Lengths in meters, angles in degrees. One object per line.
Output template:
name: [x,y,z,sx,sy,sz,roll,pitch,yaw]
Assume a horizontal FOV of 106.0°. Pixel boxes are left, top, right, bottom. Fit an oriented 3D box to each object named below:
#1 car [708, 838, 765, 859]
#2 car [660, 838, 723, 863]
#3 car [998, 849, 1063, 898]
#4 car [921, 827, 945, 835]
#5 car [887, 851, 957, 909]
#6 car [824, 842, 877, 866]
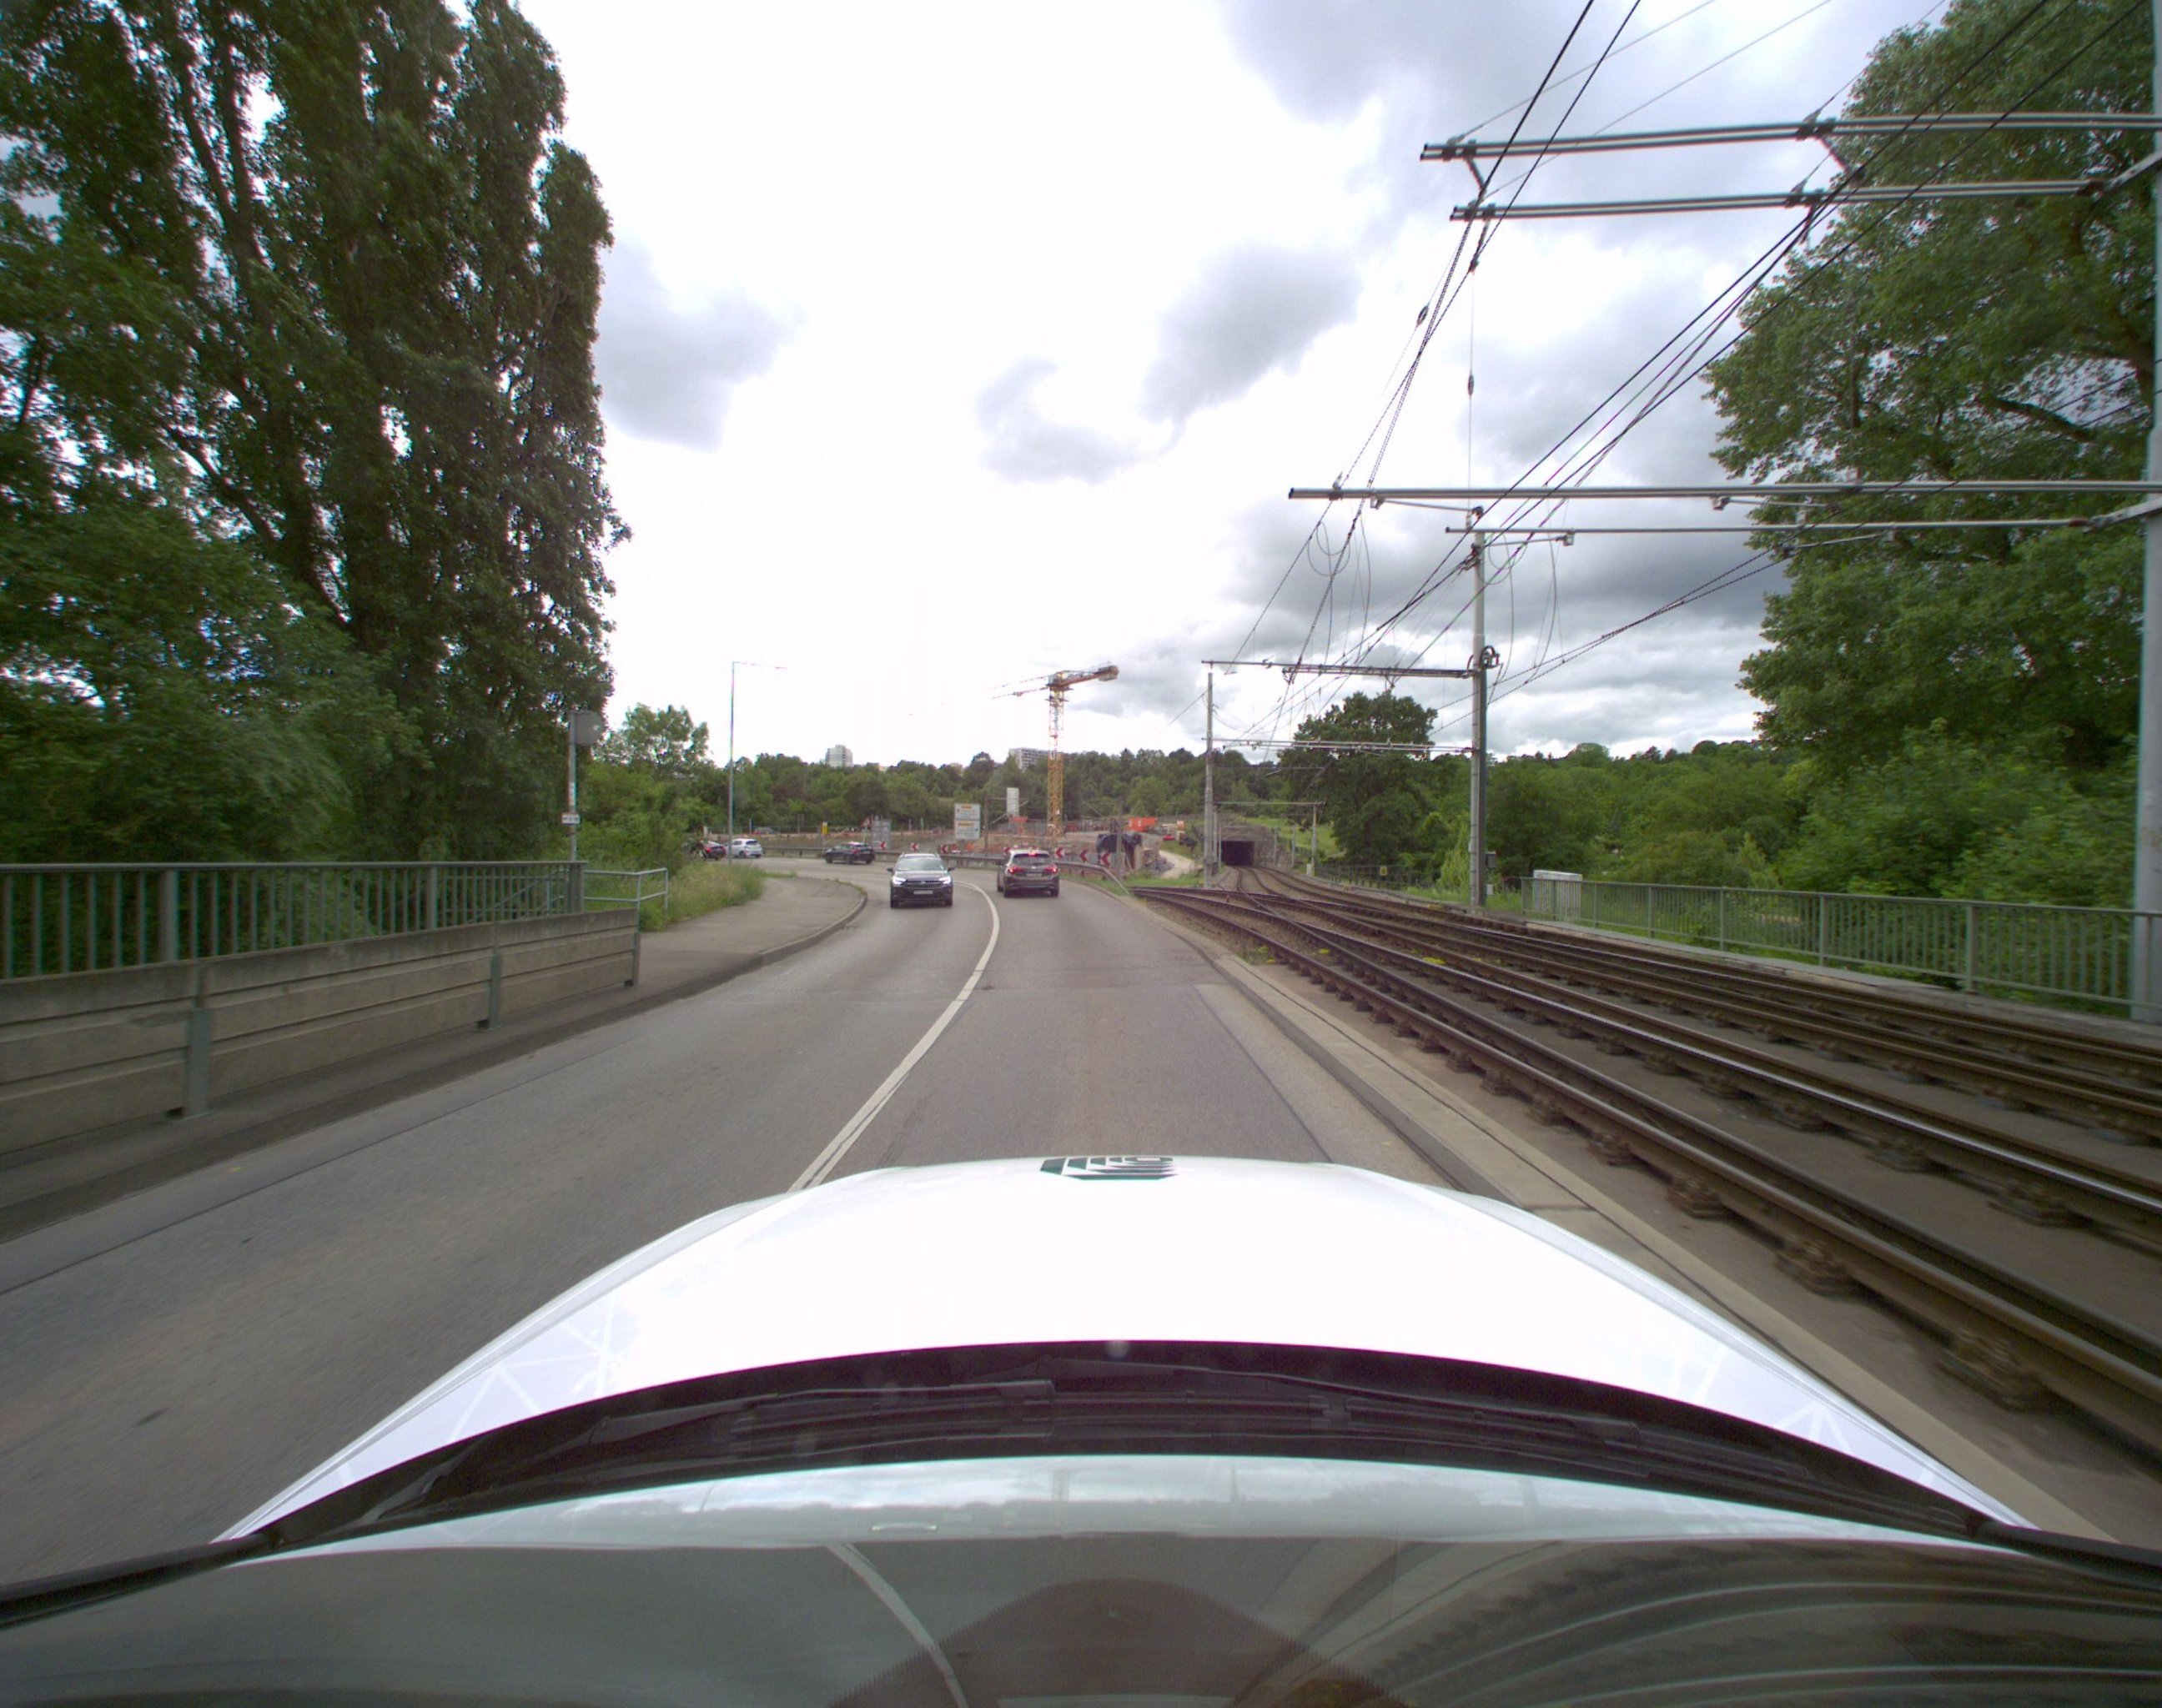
car: [-27.122,-0.416,64.031,4.255,1.606,1.695,0,1,26]
car: [-28.799,-0.291,60.233,3.954,1.552,1.810,2,6,19]
car: [-1.774,0.603,27.479,1.829,1.510,3.987,0,0,-9]
car: [-26.620,-4.130,146.913,3.950,1.409,1.811,2,0,28]
car: [-4.646,0.694,24.176,1.829,1.510,3.987,-1,0,-9]
car: [-15.934,-0.042,56.197,1.695,1.606,4.256,-1,1,-44]
